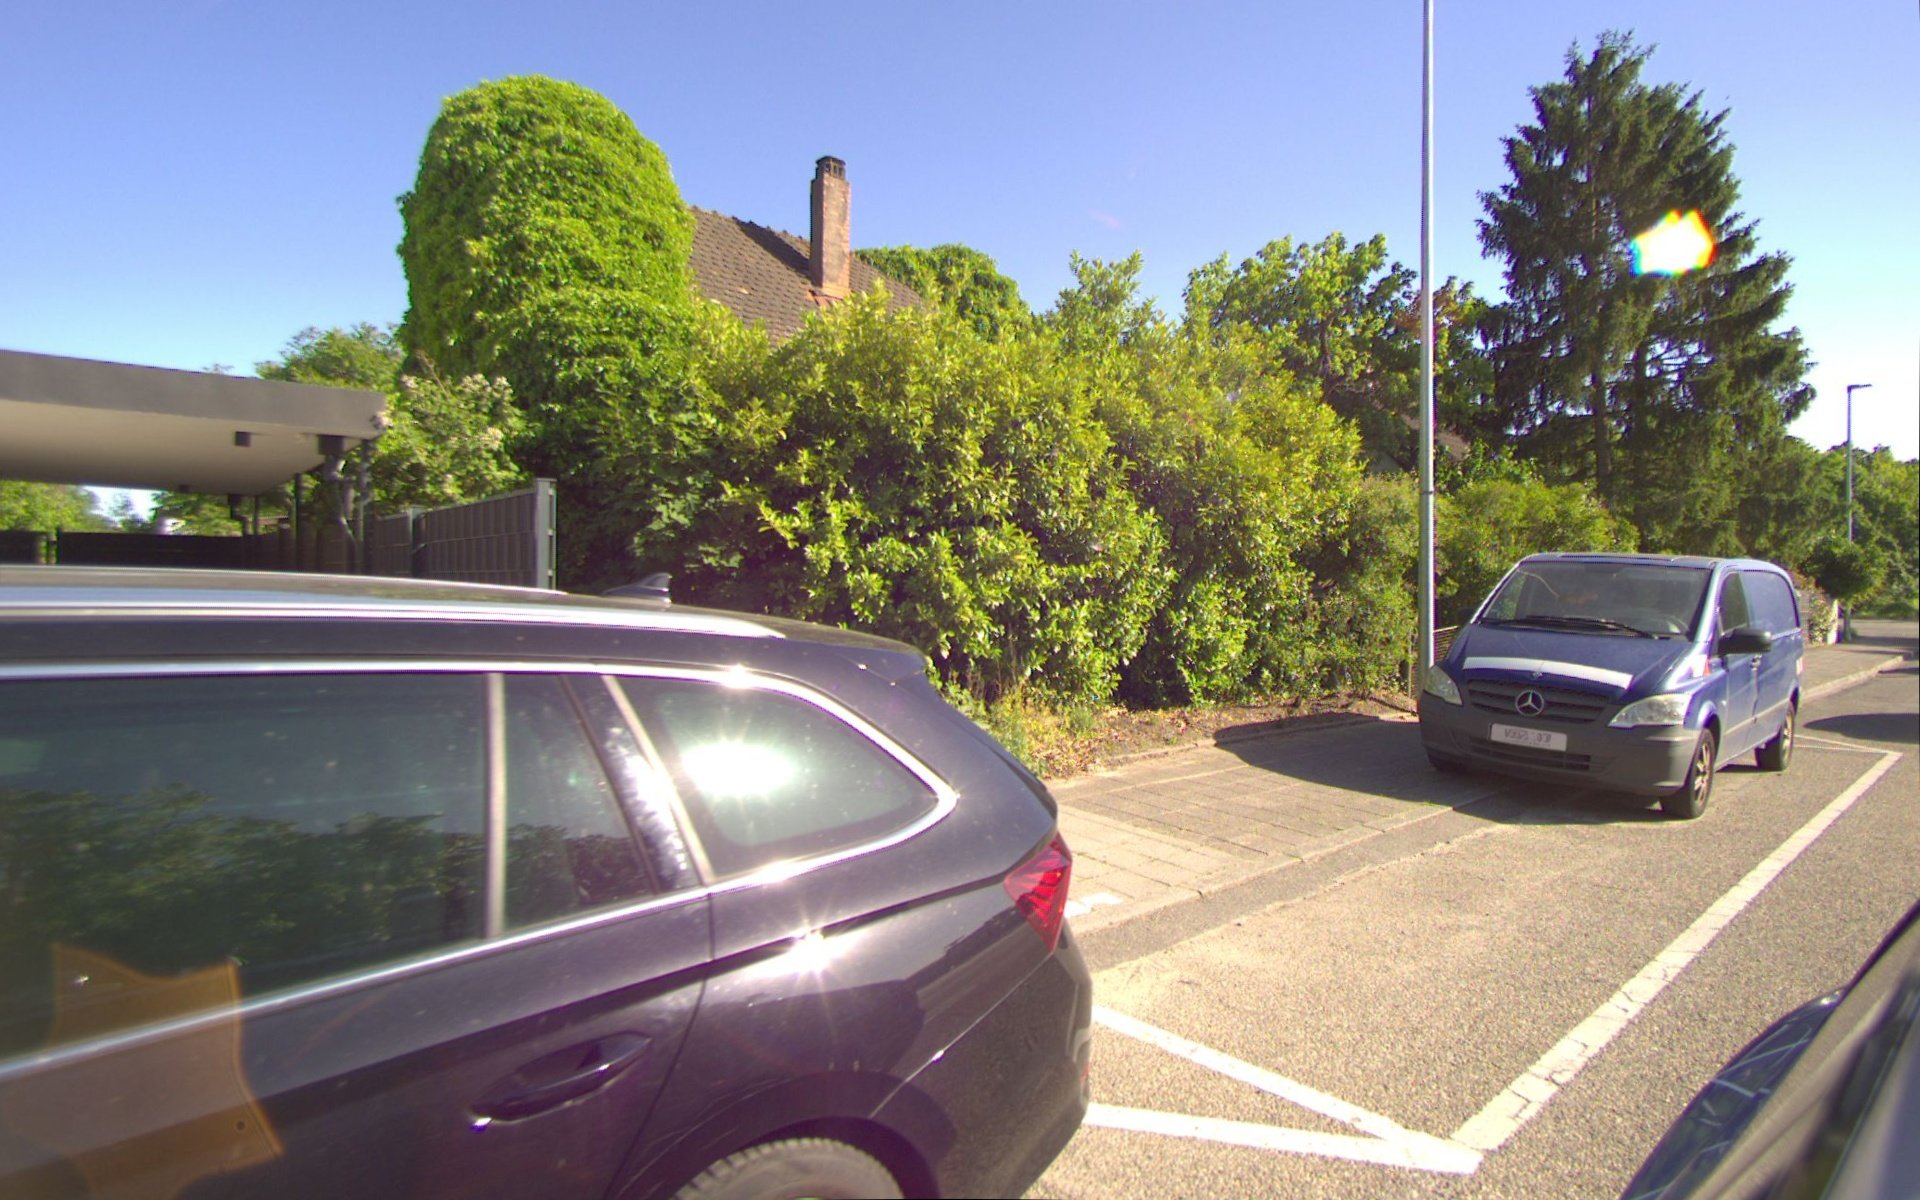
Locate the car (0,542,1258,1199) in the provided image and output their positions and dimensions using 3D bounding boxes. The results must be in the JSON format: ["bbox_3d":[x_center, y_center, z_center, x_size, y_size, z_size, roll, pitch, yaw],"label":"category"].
[{"bbox_3d":[-1.791,0.670,1.226,4.905,1.498,1.769,1,2,-42],"label":"car"}]

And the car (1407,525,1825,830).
[{"bbox_3d":[5.782,0.475,8.650,4.616,1.931,1.839,0,1,-42],"label":"car"}]
